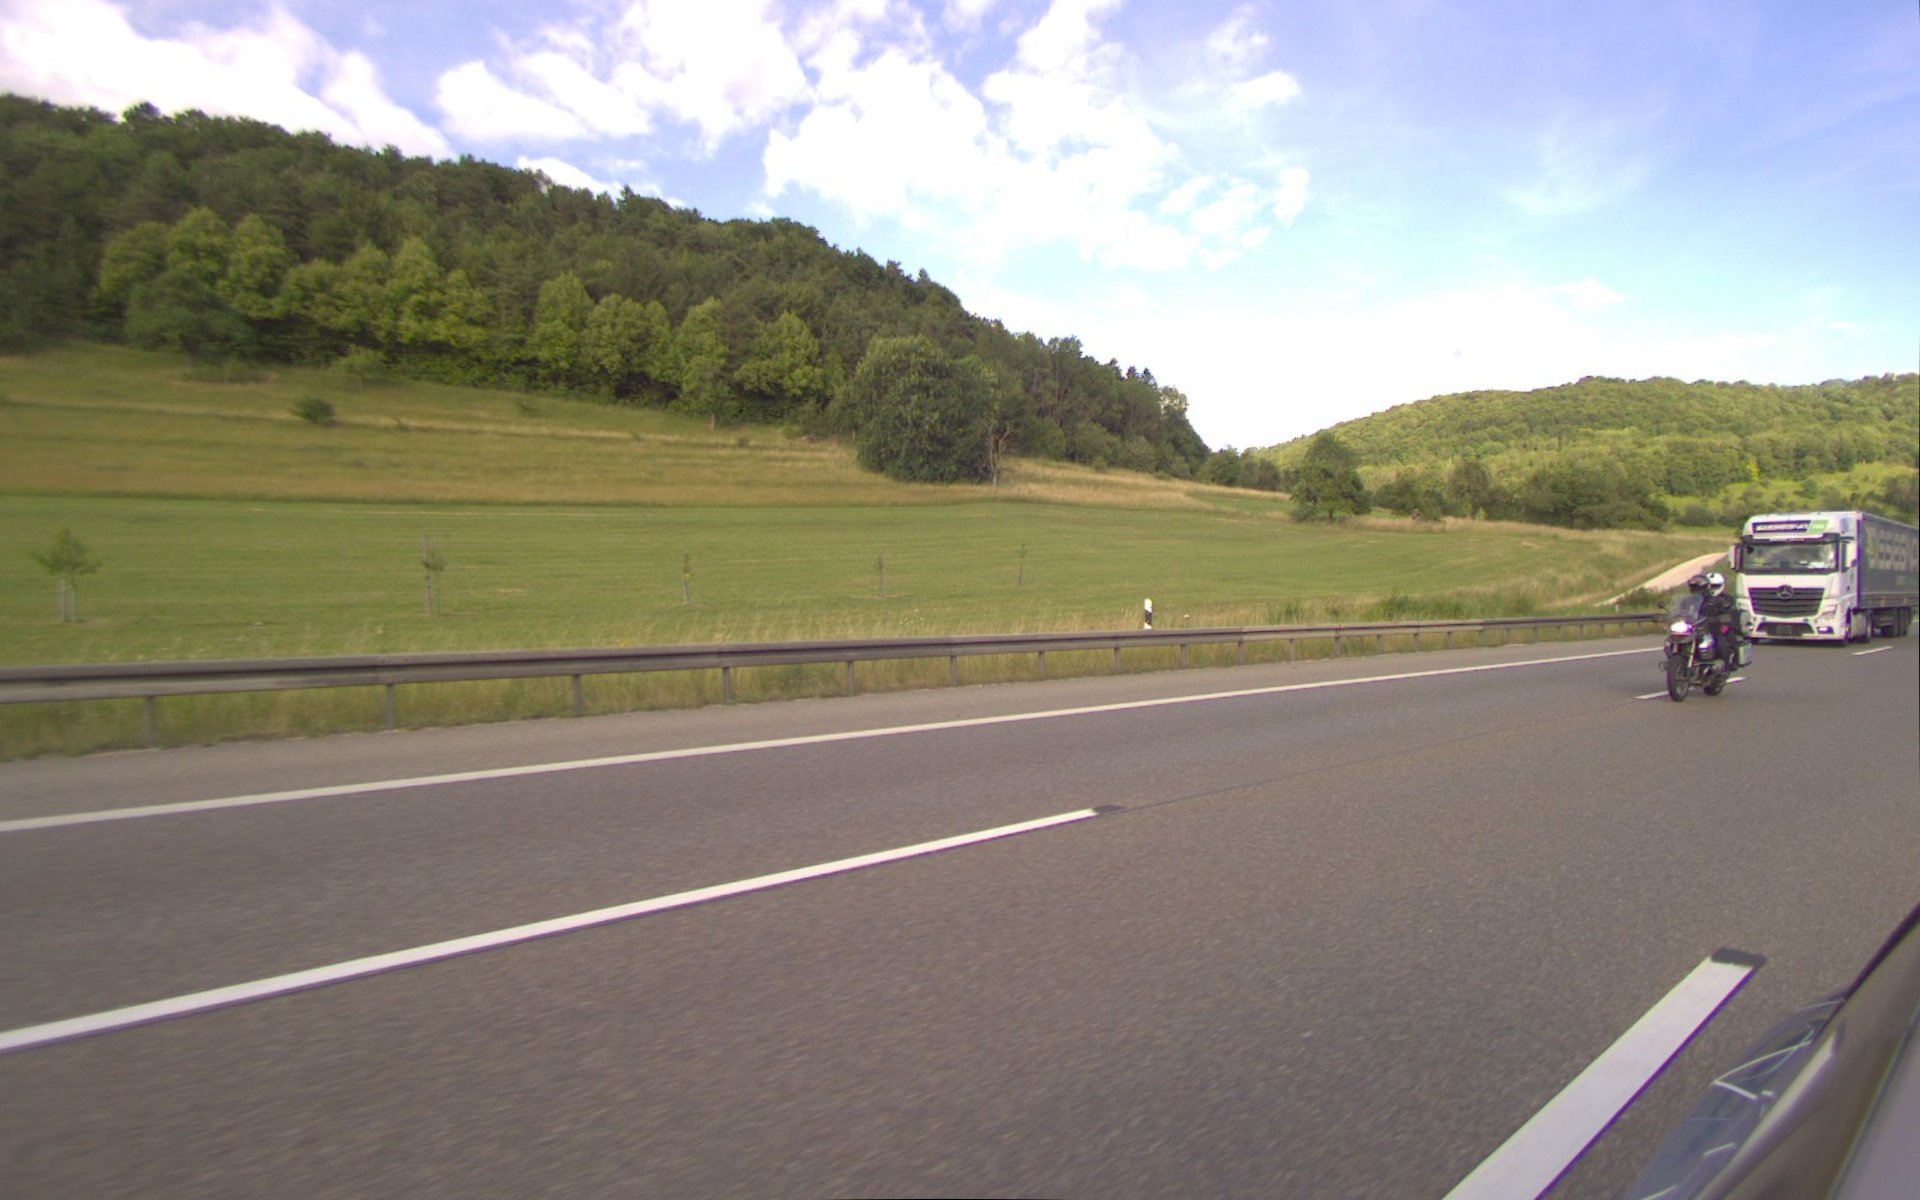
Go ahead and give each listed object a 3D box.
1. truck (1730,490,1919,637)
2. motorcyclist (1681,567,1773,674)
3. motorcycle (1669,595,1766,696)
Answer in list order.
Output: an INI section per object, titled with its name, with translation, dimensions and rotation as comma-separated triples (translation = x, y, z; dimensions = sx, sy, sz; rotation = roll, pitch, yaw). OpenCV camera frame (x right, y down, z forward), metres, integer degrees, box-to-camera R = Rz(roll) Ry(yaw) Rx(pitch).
[truck]
translation = 30.514, -1.100, 34.525
dimensions = 17.416, 4.042, 2.970
rotation = -1, 1, -40
[motorcyclist]
translation = 11.408, 0.285, 15.057
dimensions = 0.782, 1.534, 0.880
rotation = 0, 0, -34
[motorcycle]
translation = 10.891, 0.614, 14.537
dimensions = 1.706, 1.356, 0.629
rotation = 0, 1, -36
